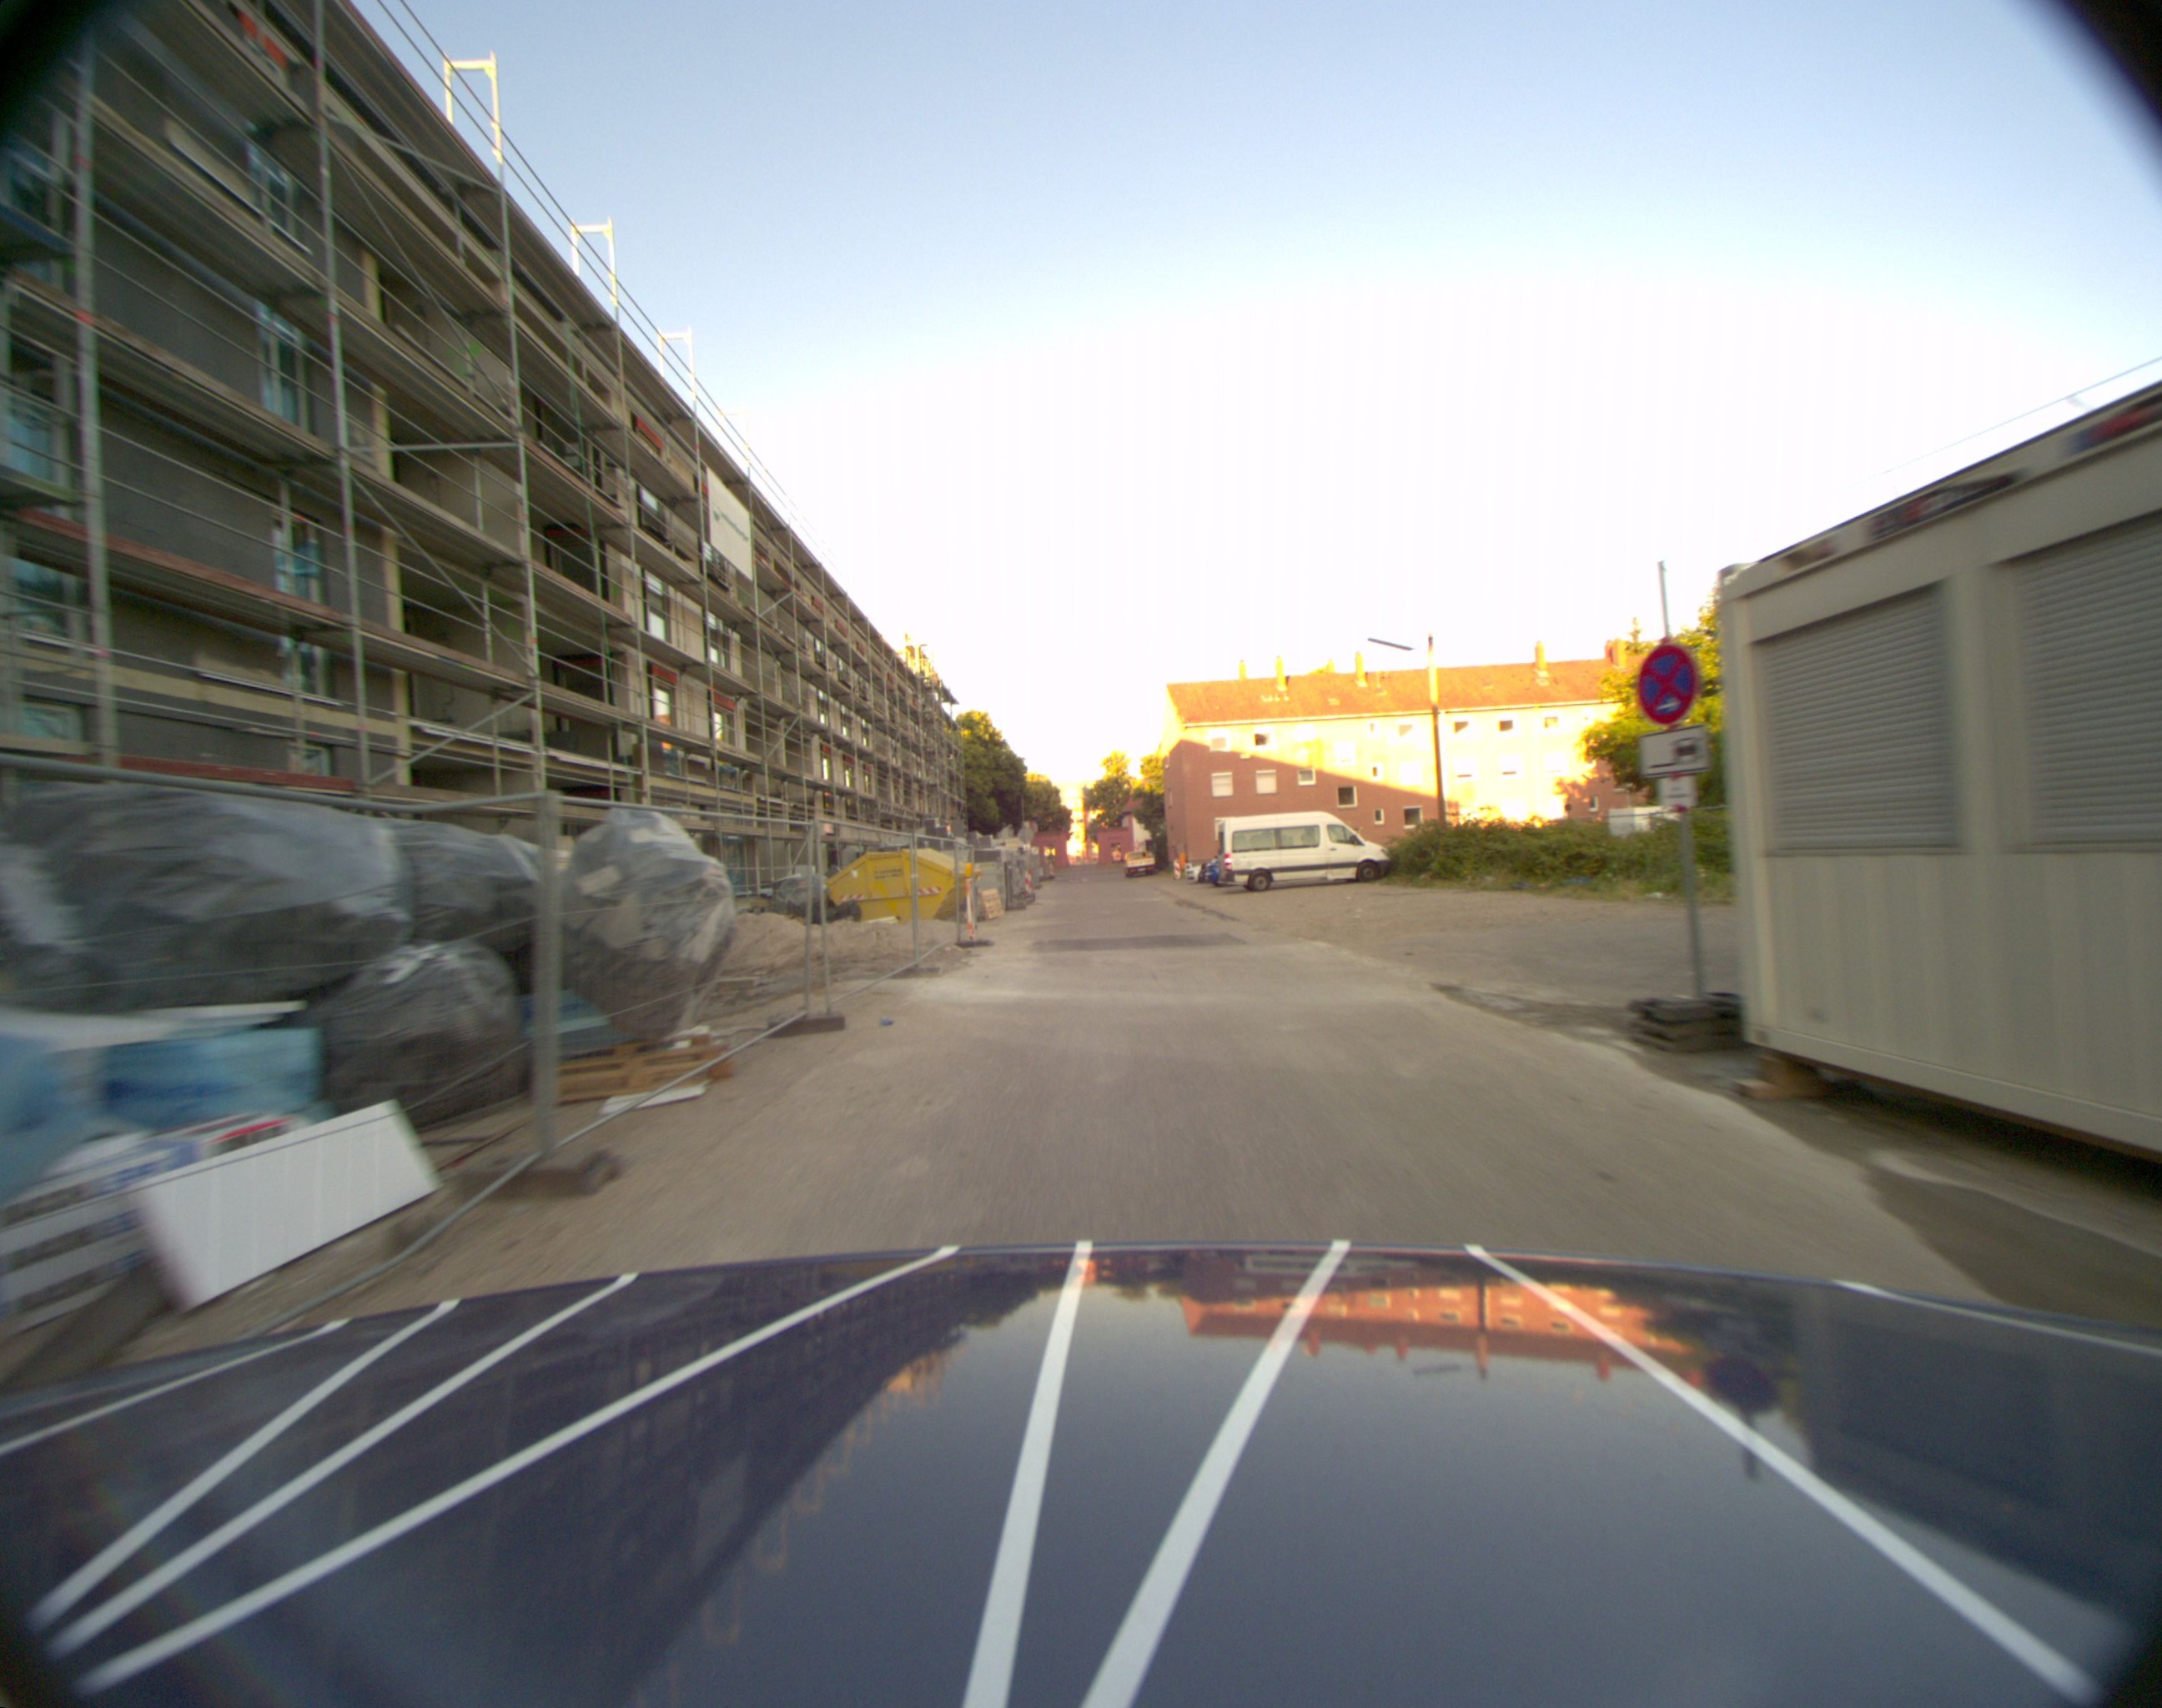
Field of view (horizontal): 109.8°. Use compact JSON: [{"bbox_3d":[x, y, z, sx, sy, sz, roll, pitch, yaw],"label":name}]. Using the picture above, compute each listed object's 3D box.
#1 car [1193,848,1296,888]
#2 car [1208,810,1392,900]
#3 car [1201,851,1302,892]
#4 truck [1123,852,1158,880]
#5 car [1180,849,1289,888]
[{"bbox_3d":[7.795,0.654,36.370,4.428,1.535,1.727,-5,0,-3],"label":"car"},{"bbox_3d":[7.609,0.043,26.889,5.702,2.611,2.222,-5,0,2],"label":"car"},{"bbox_3d":[7.261,0.741,32.572,3.847,1.421,1.727,-5,0,-2],"label":"car"},{"bbox_3d":[4.552,0.903,58.977,2.039,1.902,5.661,-5,0,0],"label":"truck"},{"bbox_3d":[7.853,0.718,39.145,5.008,1.535,2.115,-5,0,-4],"label":"car"}]
